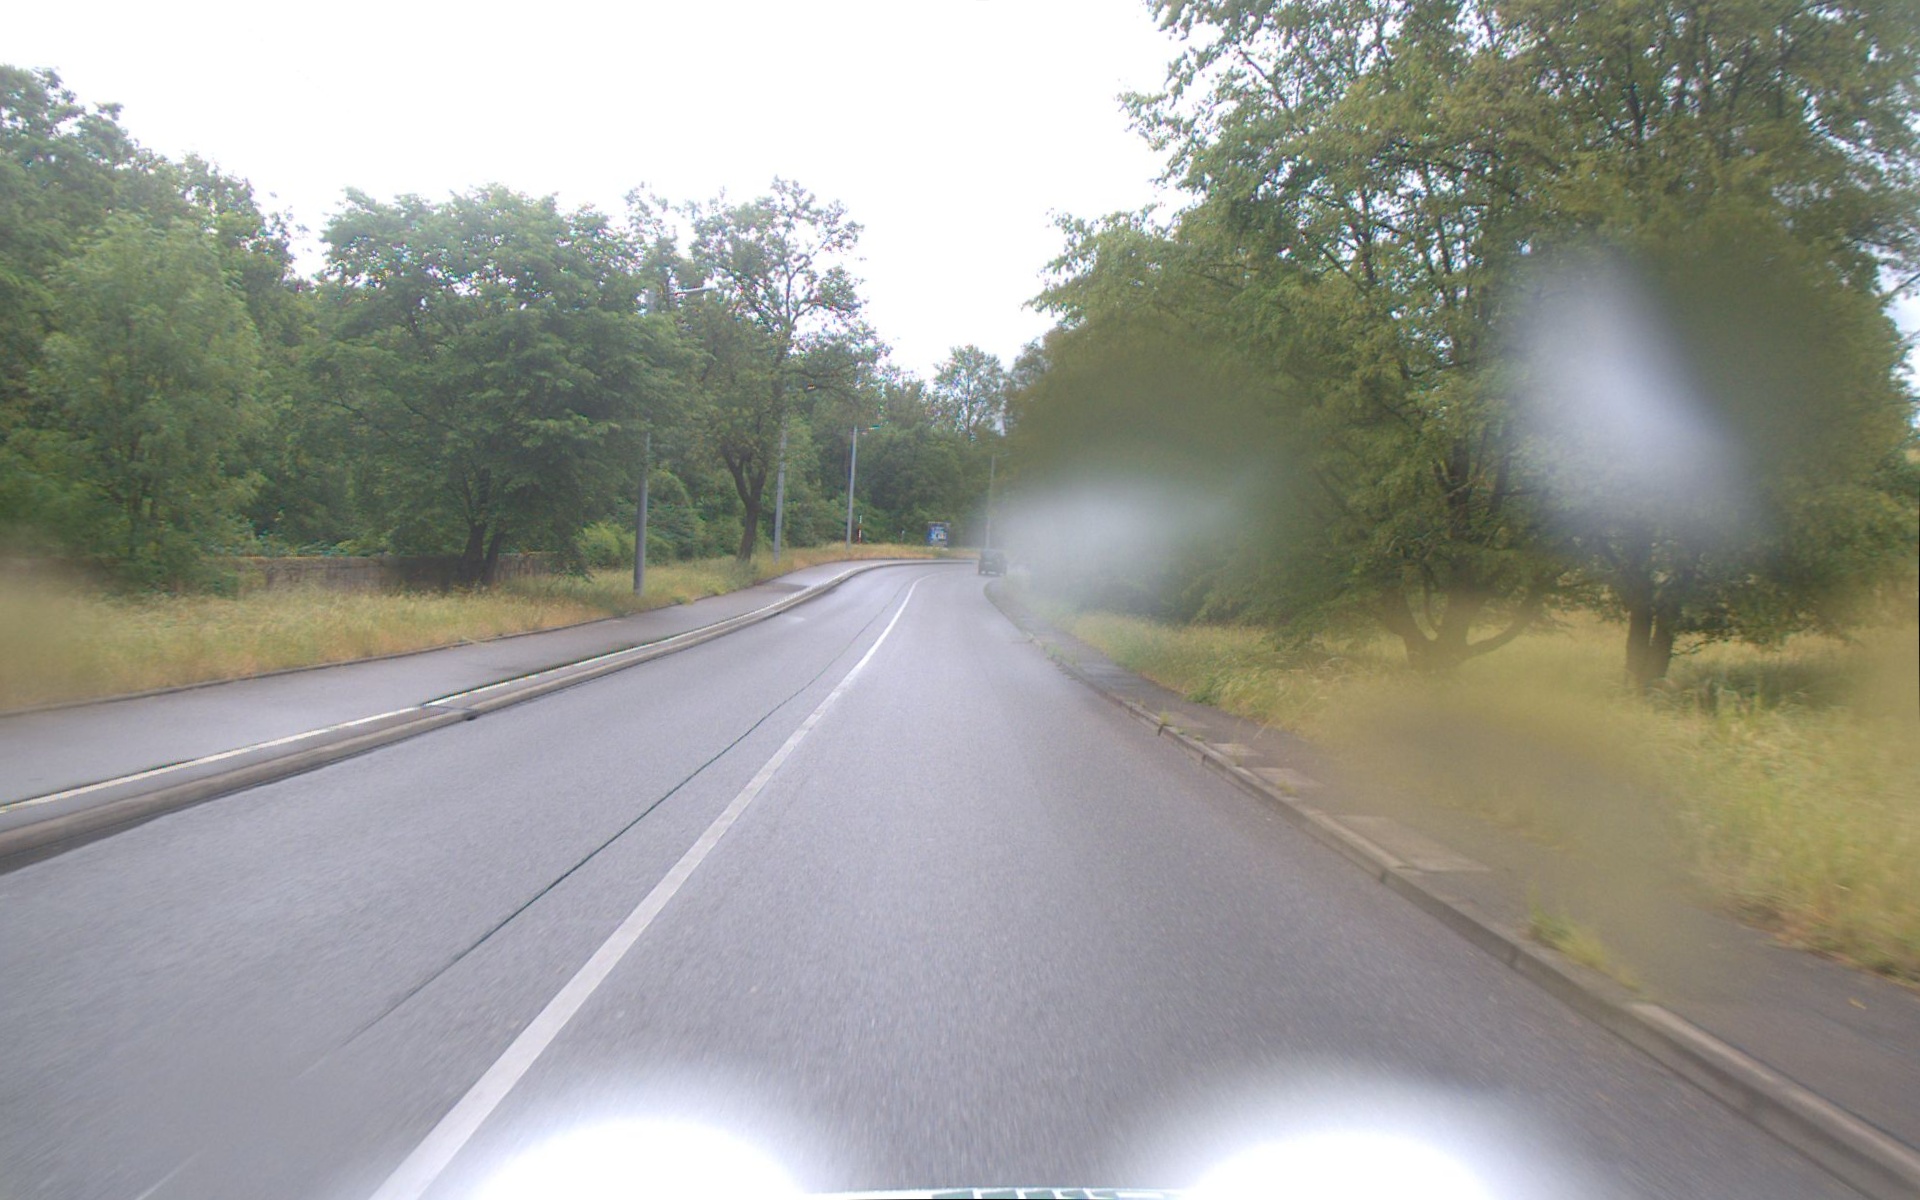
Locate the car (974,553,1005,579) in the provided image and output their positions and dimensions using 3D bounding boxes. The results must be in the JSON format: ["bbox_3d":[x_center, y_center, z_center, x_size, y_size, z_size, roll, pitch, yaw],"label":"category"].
[{"bbox_3d":[2.190,-2.527,122.376,1.705,1.746,4.003,4,1,8],"label":"car"}]
